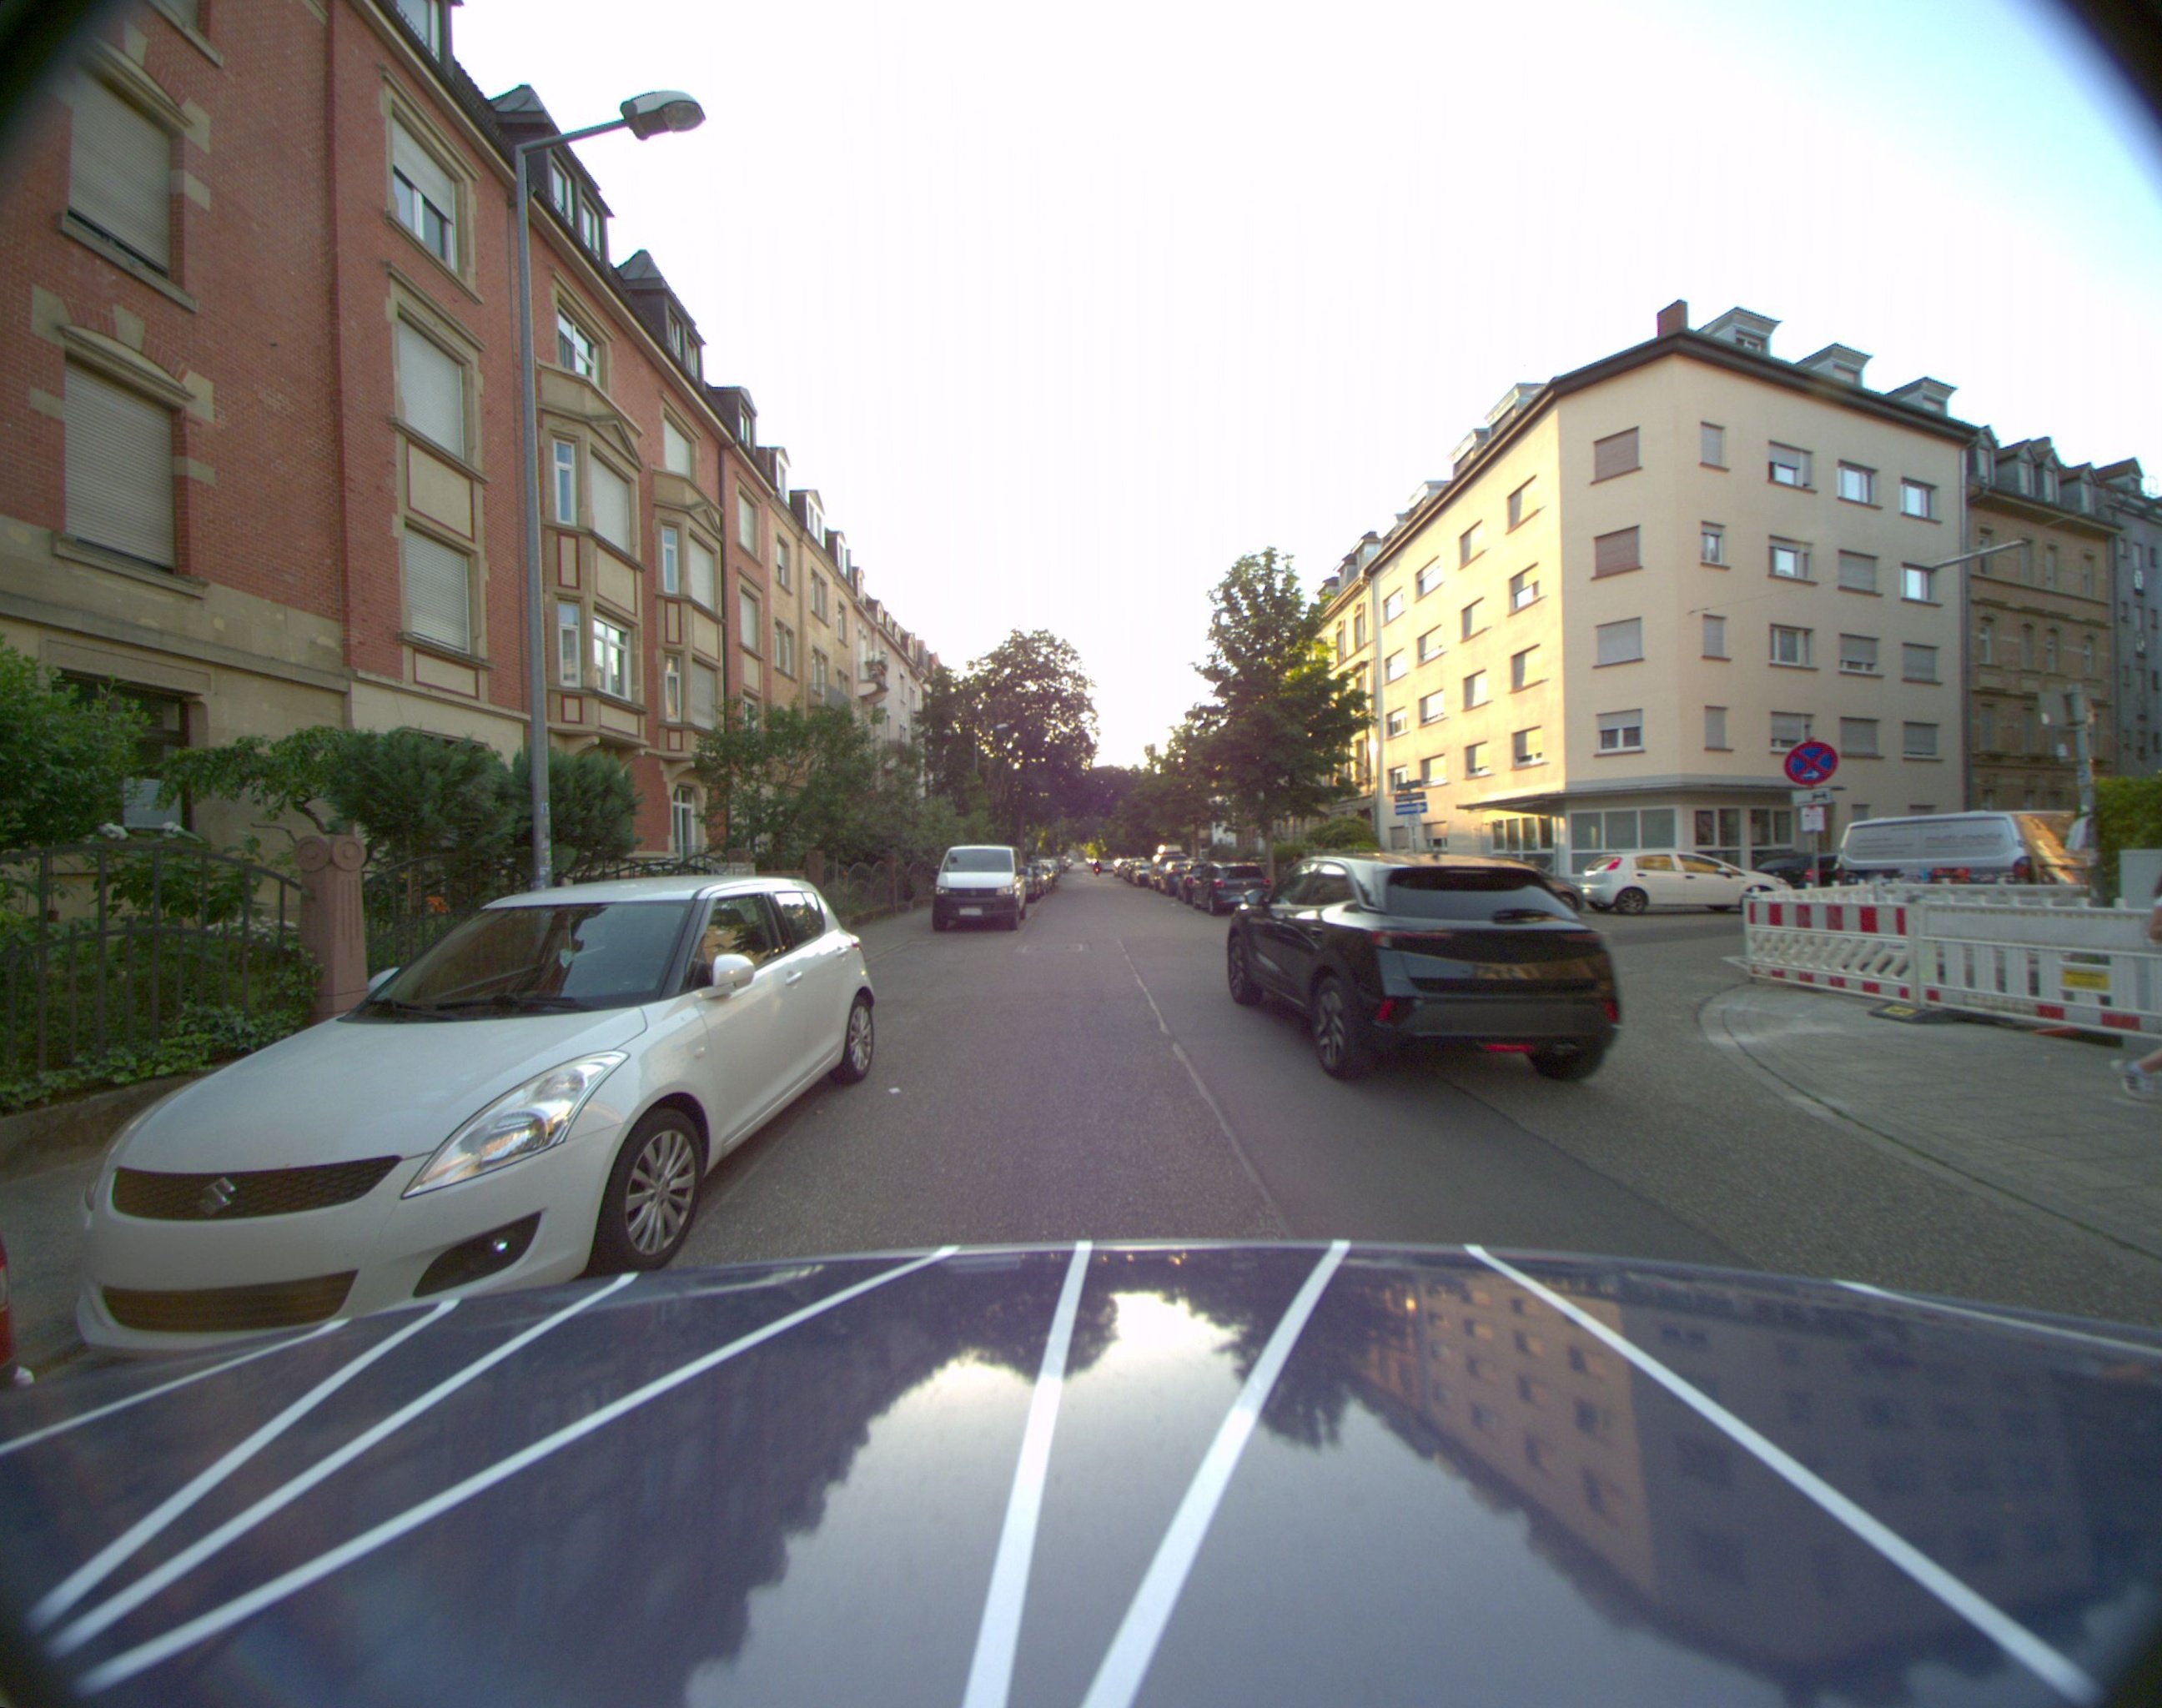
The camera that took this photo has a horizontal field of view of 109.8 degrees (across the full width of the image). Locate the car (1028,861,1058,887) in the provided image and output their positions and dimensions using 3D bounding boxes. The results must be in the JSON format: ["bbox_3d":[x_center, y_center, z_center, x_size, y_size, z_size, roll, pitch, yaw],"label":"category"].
[{"bbox_3d":[-2.373,1.222,47.911,1.737,1.498,4.163,-2,0,-2],"label":"car"}]

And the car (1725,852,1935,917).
[{"bbox_3d":[18.586,0.711,18.910,4.082,1.430,1.996,-1,-1,-17],"label":"car"}]

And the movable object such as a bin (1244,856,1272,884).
[{"bbox_3d":[9.143,0.820,39.274,0.948,1.379,1.551,-3,0,-4],"label":"movable object such as a bin"}]

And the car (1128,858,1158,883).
[{"bbox_3d":[3.943,1.033,48.689,1.441,1.485,3.298,-2,0,-2],"label":"car"}]

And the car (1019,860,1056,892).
[{"bbox_3d":[-2.249,1.120,40.045,1.590,1.516,3.602,-3,0,2],"label":"car"}]

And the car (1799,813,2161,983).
[{"bbox_3d":[13.090,0.487,10.828,5.300,1.963,2.204,-1,0,-23],"label":"car"}]

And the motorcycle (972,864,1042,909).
[{"bbox_3d":[-2.548,1.094,26.195,2.099,1.473,1.130,0,0,-34],"label":"motorcycle"}]

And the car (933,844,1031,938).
[{"bbox_3d":[-2.332,0.804,19.233,1.866,2.027,5.544,0,0,-1],"label":"car"}]

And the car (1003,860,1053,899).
[{"bbox_3d":[-2.399,1.116,35.549,1.761,1.573,4.842,-3,0,2],"label":"car"}]

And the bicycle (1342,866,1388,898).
[{"bbox_3d":[9.829,0.948,26.357,0.689,1.019,1.931,-3,0,-6],"label":"bicycle"}]

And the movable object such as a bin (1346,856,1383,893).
[{"bbox_3d":[10.879,0.771,29.158,0.868,1.344,1.398,-3,0,1],"label":"movable object such as a bin"}]

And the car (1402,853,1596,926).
[{"bbox_3d":[9.690,0.802,17.830,3.515,1.499,1.845,-2,-1,-1],"label":"car"}]

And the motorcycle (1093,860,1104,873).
[{"bbox_3d":[1.770,1.253,76.127,0.848,1.202,2.076,2,1,10],"label":"motorcycle"}]

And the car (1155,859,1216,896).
[{"bbox_3d":[4.414,0.958,32.724,1.866,1.404,4.590,-2,0,-1],"label":"car"}]

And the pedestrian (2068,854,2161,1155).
[{"bbox_3d":[6.196,0.815,4.128,0.712,1.609,0.785,-3,0,-17],"label":"pedestrian"}]

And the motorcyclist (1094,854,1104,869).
[{"bbox_3d":[1.803,0.753,76.268,0.891,1.496,0.970,2,1,10],"label":"motorcyclist"}]

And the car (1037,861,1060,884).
[{"bbox_3d":[-2.280,1.245,53.133,1.479,1.498,3.928,-2,0,-2],"label":"car"}]

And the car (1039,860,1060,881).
[{"bbox_3d":[-2.360,1.221,57.527,1.502,1.538,3.338,-2,0,-2],"label":"car"}]

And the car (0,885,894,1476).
[{"bbox_3d":[-2.411,1.004,4.049,1.678,1.468,3.862,-2,0,2],"label":"car"}]

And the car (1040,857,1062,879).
[{"bbox_3d":[-2.465,1.145,63.147,1.737,1.691,4.167,-2,0,-2],"label":"car"}]

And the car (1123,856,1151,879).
[{"bbox_3d":[4.252,0.987,58.190,1.866,1.653,4.021,-2,0,0],"label":"car"}]

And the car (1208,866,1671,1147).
[{"bbox_3d":[2.377,0.887,6.302,1.784,1.508,3.999,0,0,-3],"label":"car"}]

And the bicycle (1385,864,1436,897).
[{"bbox_3d":[11.404,0.907,26.322,0.502,1.086,1.545,-3,0,-38],"label":"bicycle"}]

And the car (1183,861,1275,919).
[{"bbox_3d":[4.294,0.994,22.742,1.679,1.453,4.462,-2,0,-2],"label":"car"}]

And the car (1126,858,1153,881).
[{"bbox_3d":[4.030,1.056,53.000,1.682,1.489,3.625,-2,0,2],"label":"car"}]

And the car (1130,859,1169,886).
[{"bbox_3d":[3.925,1.023,43.972,1.733,1.433,4.023,-2,0,-2],"label":"car"}]

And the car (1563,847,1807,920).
[{"bbox_3d":[14.210,0.674,18.149,4.066,1.499,1.975,-3,0,12],"label":"car"}]

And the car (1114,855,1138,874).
[{"bbox_3d":[4.100,0.928,69.602,1.677,1.627,3.939,-2,0,-3],"label":"car"}]

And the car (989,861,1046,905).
[{"bbox_3d":[-2.457,1.100,30.295,1.724,1.542,4.325,-2,0,2],"label":"car"}]

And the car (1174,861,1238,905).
[{"bbox_3d":[4.436,0.993,27.568,1.746,1.412,4.143,-2,0,2],"label":"car"}]

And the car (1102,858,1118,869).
[{"bbox_3d":[3.985,1.289,103.425,1.953,1.484,3.738,-2,0,-1],"label":"car"}]

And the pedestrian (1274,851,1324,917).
[{"bbox_3d":[5.905,0.803,20.595,0.889,1.712,0.960,-2,1,42],"label":"pedestrian"}]

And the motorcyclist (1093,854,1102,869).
[{"bbox_3d":[1.629,0.732,75.512,0.789,1.531,0.546,2,1,10],"label":"motorcyclist"}]

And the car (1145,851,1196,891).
[{"bbox_3d":[4.375,0.791,37.730,1.866,1.768,4.622,-2,0,-1],"label":"car"}]

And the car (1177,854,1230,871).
[{"bbox_3d":[10.815,0.772,67.301,4.413,1.333,1.626,-2,0,1],"label":"car"}]
